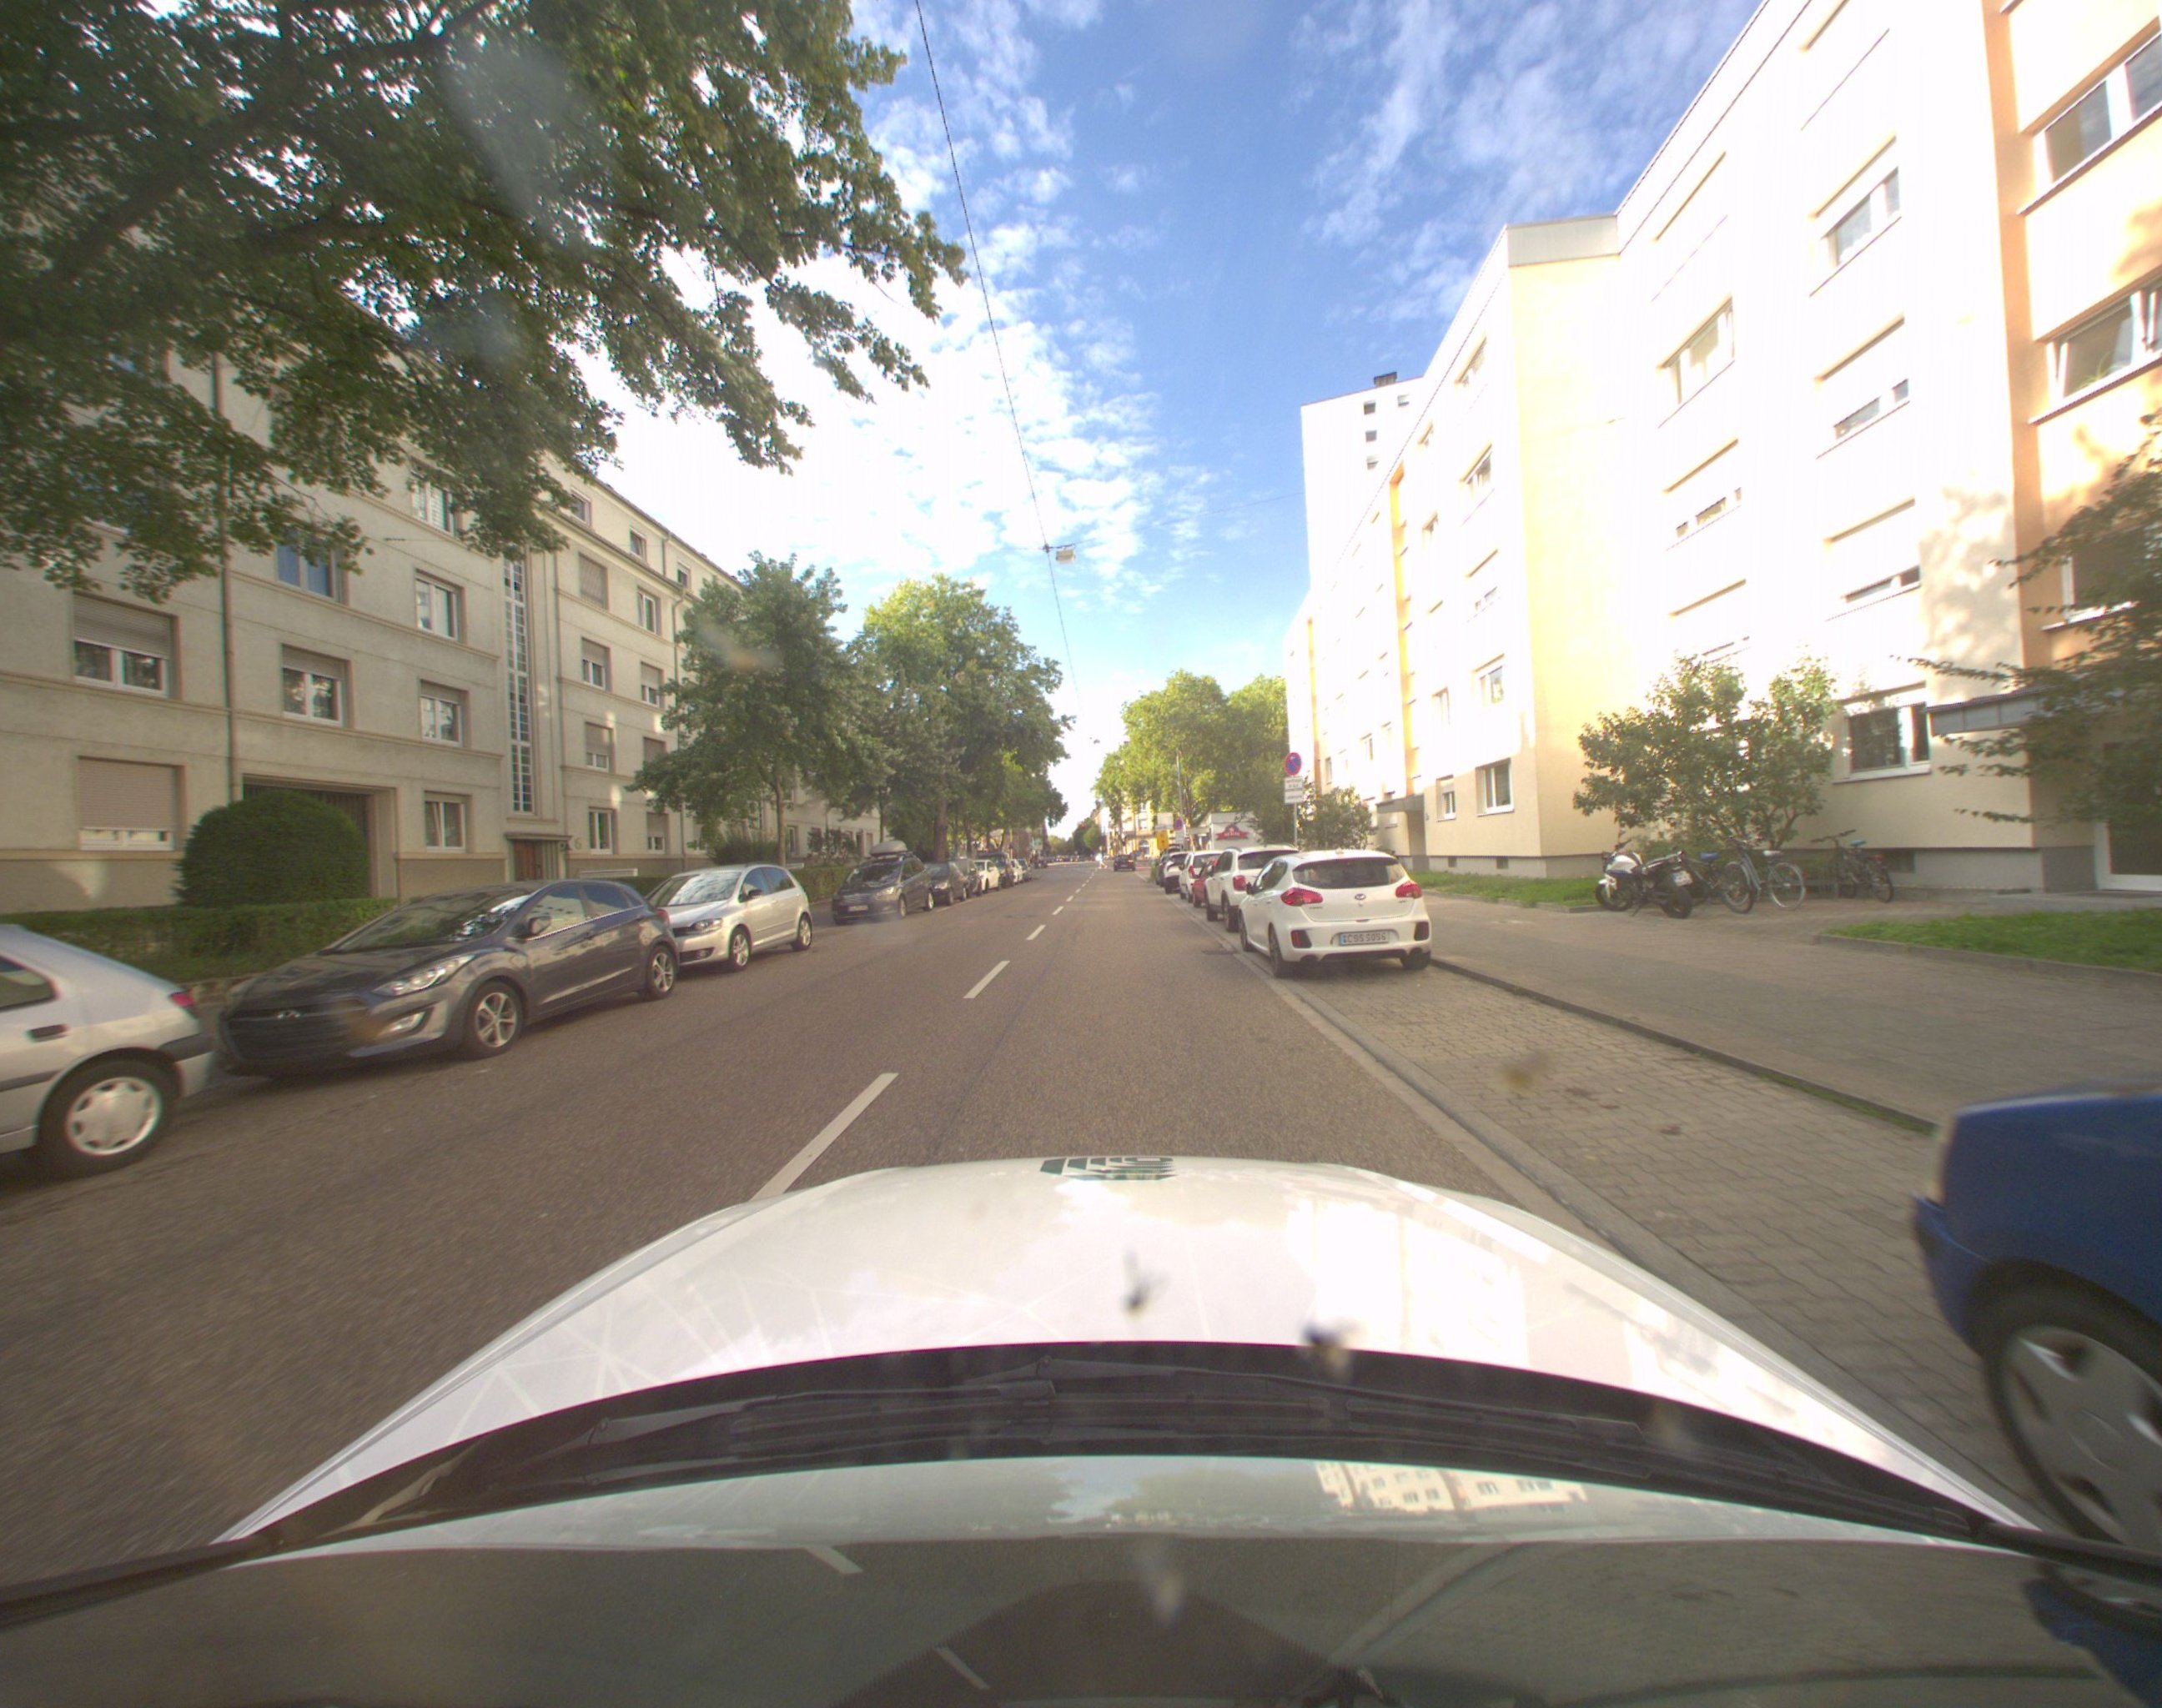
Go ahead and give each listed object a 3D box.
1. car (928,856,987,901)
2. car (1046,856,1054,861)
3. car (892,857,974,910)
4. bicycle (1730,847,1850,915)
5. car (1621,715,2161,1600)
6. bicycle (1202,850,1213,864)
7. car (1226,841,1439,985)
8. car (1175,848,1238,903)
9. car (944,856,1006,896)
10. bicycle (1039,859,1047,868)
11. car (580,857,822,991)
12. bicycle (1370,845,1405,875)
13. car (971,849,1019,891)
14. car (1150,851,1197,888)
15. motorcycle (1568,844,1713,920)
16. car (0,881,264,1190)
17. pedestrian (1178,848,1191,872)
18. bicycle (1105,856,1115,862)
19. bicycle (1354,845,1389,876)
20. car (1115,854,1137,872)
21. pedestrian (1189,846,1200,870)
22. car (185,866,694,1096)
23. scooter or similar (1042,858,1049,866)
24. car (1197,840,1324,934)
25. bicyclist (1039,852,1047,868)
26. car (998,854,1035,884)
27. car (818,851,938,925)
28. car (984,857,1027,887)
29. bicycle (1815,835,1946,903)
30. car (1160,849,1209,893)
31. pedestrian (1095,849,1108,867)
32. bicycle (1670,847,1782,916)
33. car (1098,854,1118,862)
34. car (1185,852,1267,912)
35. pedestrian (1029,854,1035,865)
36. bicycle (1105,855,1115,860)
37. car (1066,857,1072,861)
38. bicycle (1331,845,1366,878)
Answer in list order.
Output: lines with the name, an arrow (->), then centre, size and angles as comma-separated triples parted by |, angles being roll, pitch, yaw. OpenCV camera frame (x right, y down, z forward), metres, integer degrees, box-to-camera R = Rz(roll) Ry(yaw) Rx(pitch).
car -> -4.748, 0.910, 31.687 | 1.546, 1.520, 3.019 | -5, 0, 4
car -> -7.854, 1.096, 206.029 | 1.545, 1.230, 3.589 | -2, 0, 2
car -> -4.846, 0.925, 27.151 | 1.693, 1.487, 3.851 | -5, 0, 3
bicycle -> 10.548, 0.377, 12.183 | 0.457, 0.927, 1.517 | -4, 0, 2
car -> 2.800, 0.521, 0.953 | 1.721, 1.649, 4.121 | -4, 0, 4
bicycle -> 11.336, 0.275, 73.187 | 0.765, 1.206, 1.818 | -4, 0, 5
car -> 3.174, 0.655, 11.287 | 1.721, 1.487, 4.646 | -4, 0, 4
car -> 3.892, 0.621, 25.671 | 1.544, 1.557, 3.471 | -3, 0, 3
car -> -4.611, 0.914, 36.076 | 1.686, 1.493, 4.339 | -4, 0, 6
bicycle -> -4.373, 1.031, 93.307 | 0.759, 0.994, 1.923 | -2, 0, -5
car -> -5.681, 0.934, 12.804 | 1.733, 1.620, 3.995 | -5, 0, 1
bicycle -> 11.805, 0.223, 31.432 | 0.527, 1.115, 2.211 | -4, 0, 3
car -> -4.311, 0.763, 41.311 | 1.716, 1.882, 4.194 | -4, 0, 2
car -> 4.181, 0.674, 37.495 | 1.684, 1.528, 4.238 | -3, 0, 1
motorcycle -> 8.710, 0.397, 12.834 | 0.628, 1.044, 2.395 | -4, 0, 2
car -> -5.944, 0.949, 3.056 | 1.595, 1.418, 3.964 | -6, 0, 1
pedestrian -> 6.982, 0.398, 54.950 | 0.650, 1.538, 0.743 | -4, 0, 2
bicycle -> 6.028, 1.008, 170.685 | 2.023, 1.082, 0.628 | -3, 0, -11
bicycle -> 11.188, 0.257, 31.459 | 0.594, 1.115, 2.211 | -4, 0, 3
car -> 3.754, 0.697, 68.617 | 1.745, 1.413, 4.002 | -2, 0, 2
pedestrian -> 7.836, 0.271, 56.267 | 0.650, 1.645, 0.743 | -2, 0, 2
car -> -5.575, 0.942, 7.877 | 1.609, 1.468, 4.013 | -5, 0, 0
scooter or similar -> -4.454, 0.958, 101.449 | 0.804, 0.923, 1.012 | -2, 0, -5
car -> 3.512, 0.600, 16.669 | 1.722, 1.580, 4.119 | -4, 0, 2
bicyclist -> -4.378, 0.682, 93.238 | 0.810, 1.691, 1.111 | -2, 0, -5
car -> -4.010, 0.916, 51.138 | 1.793, 1.620, 3.803 | -5, 0, 1
car -> -5.376, 0.831, 22.226 | 1.791, 1.668, 4.486 | -5, 0, 3
car -> -4.258, 0.997, 46.565 | 1.792, 1.493, 3.806 | -5, 0, 3
bicycle -> 11.983, 0.209, 12.267 | 0.457, 0.927, 1.517 | -4, 0, 2
car -> 3.957, 0.623, 31.616 | 1.682, 1.528, 4.243 | -3, 0, 5
pedestrian -> 2.055, 0.391, 81.707 | 1.076, 1.753, 0.914 | -1, 0, -14
bicycle -> 9.594, 0.381, 12.178 | 0.457, 0.941, 1.517 | -4, 0, 2
car -> 5.711, 0.913, 172.452 | 3.980, 1.420, 1.997 | -3, 0, -5
car -> 3.791, 0.700, 21.842 | 1.510, 1.398, 3.676 | -4, 0, 1
pedestrian -> -7.898, 0.858, 131.575 | 0.774, 1.662, 0.783 | -2, 0, 21
bicycle -> 6.078, 0.747, 170.064 | 2.023, 1.082, 0.618 | -3, 0, -11
car -> -3.640, 1.656, 253.154 | 1.771, 1.230, 3.589 | -2, 0, 1
bicycle -> 10.380, 0.291, 31.669 | 0.594, 1.186, 2.211 | -6, 0, 3
